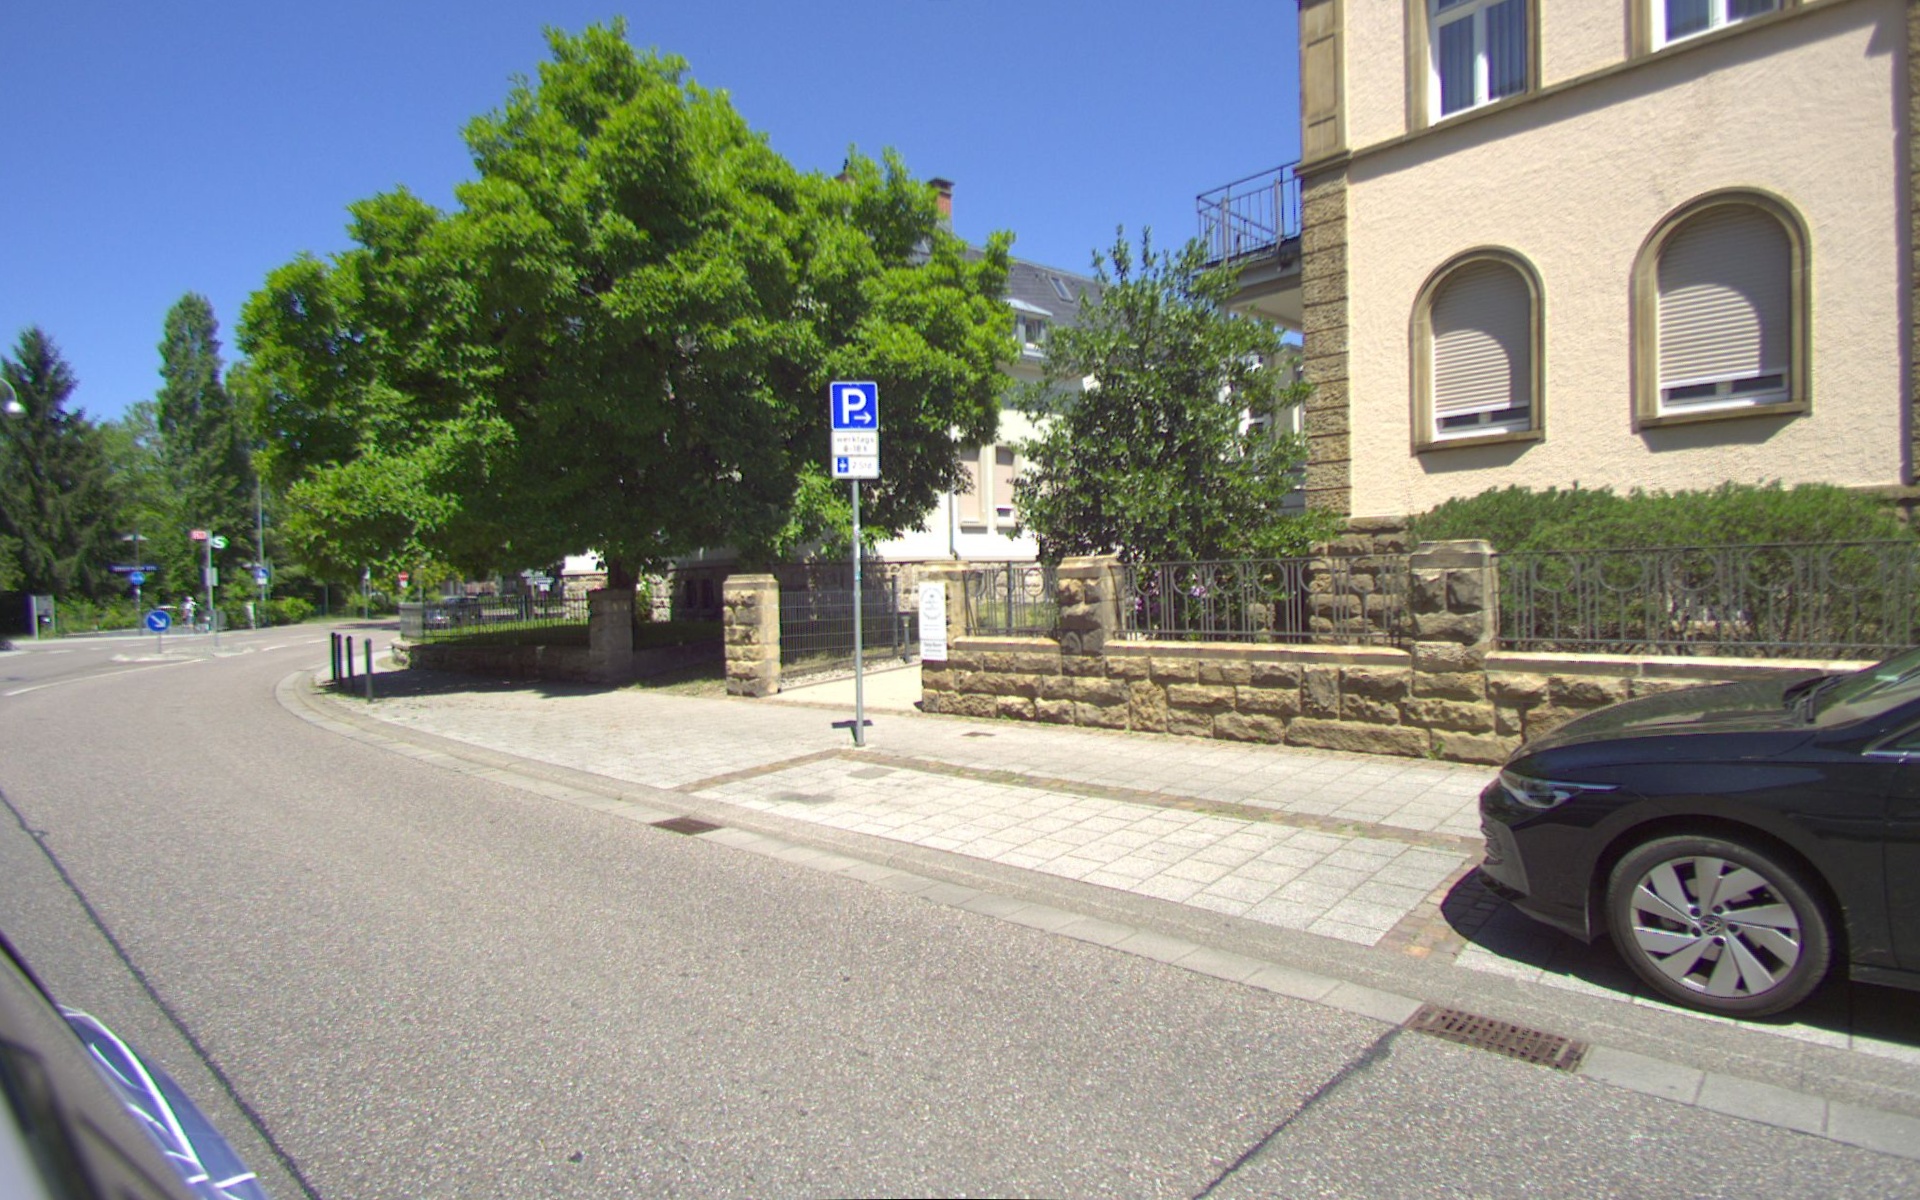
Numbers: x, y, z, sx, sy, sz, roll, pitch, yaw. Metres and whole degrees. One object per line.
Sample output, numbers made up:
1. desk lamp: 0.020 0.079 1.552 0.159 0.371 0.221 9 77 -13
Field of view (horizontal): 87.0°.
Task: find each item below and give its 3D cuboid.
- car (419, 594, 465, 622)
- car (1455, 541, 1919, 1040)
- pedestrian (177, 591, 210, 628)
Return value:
1. car: -28.065 0.467 54.947 1.733 1.446 4.318 0 -1 -21
2. car: 4.251 0.511 2.974 4.658 1.447 1.905 -1 3 43
3. pedestrian: -38.062 0.461 50.267 0.902 1.785 0.915 0 0 2
